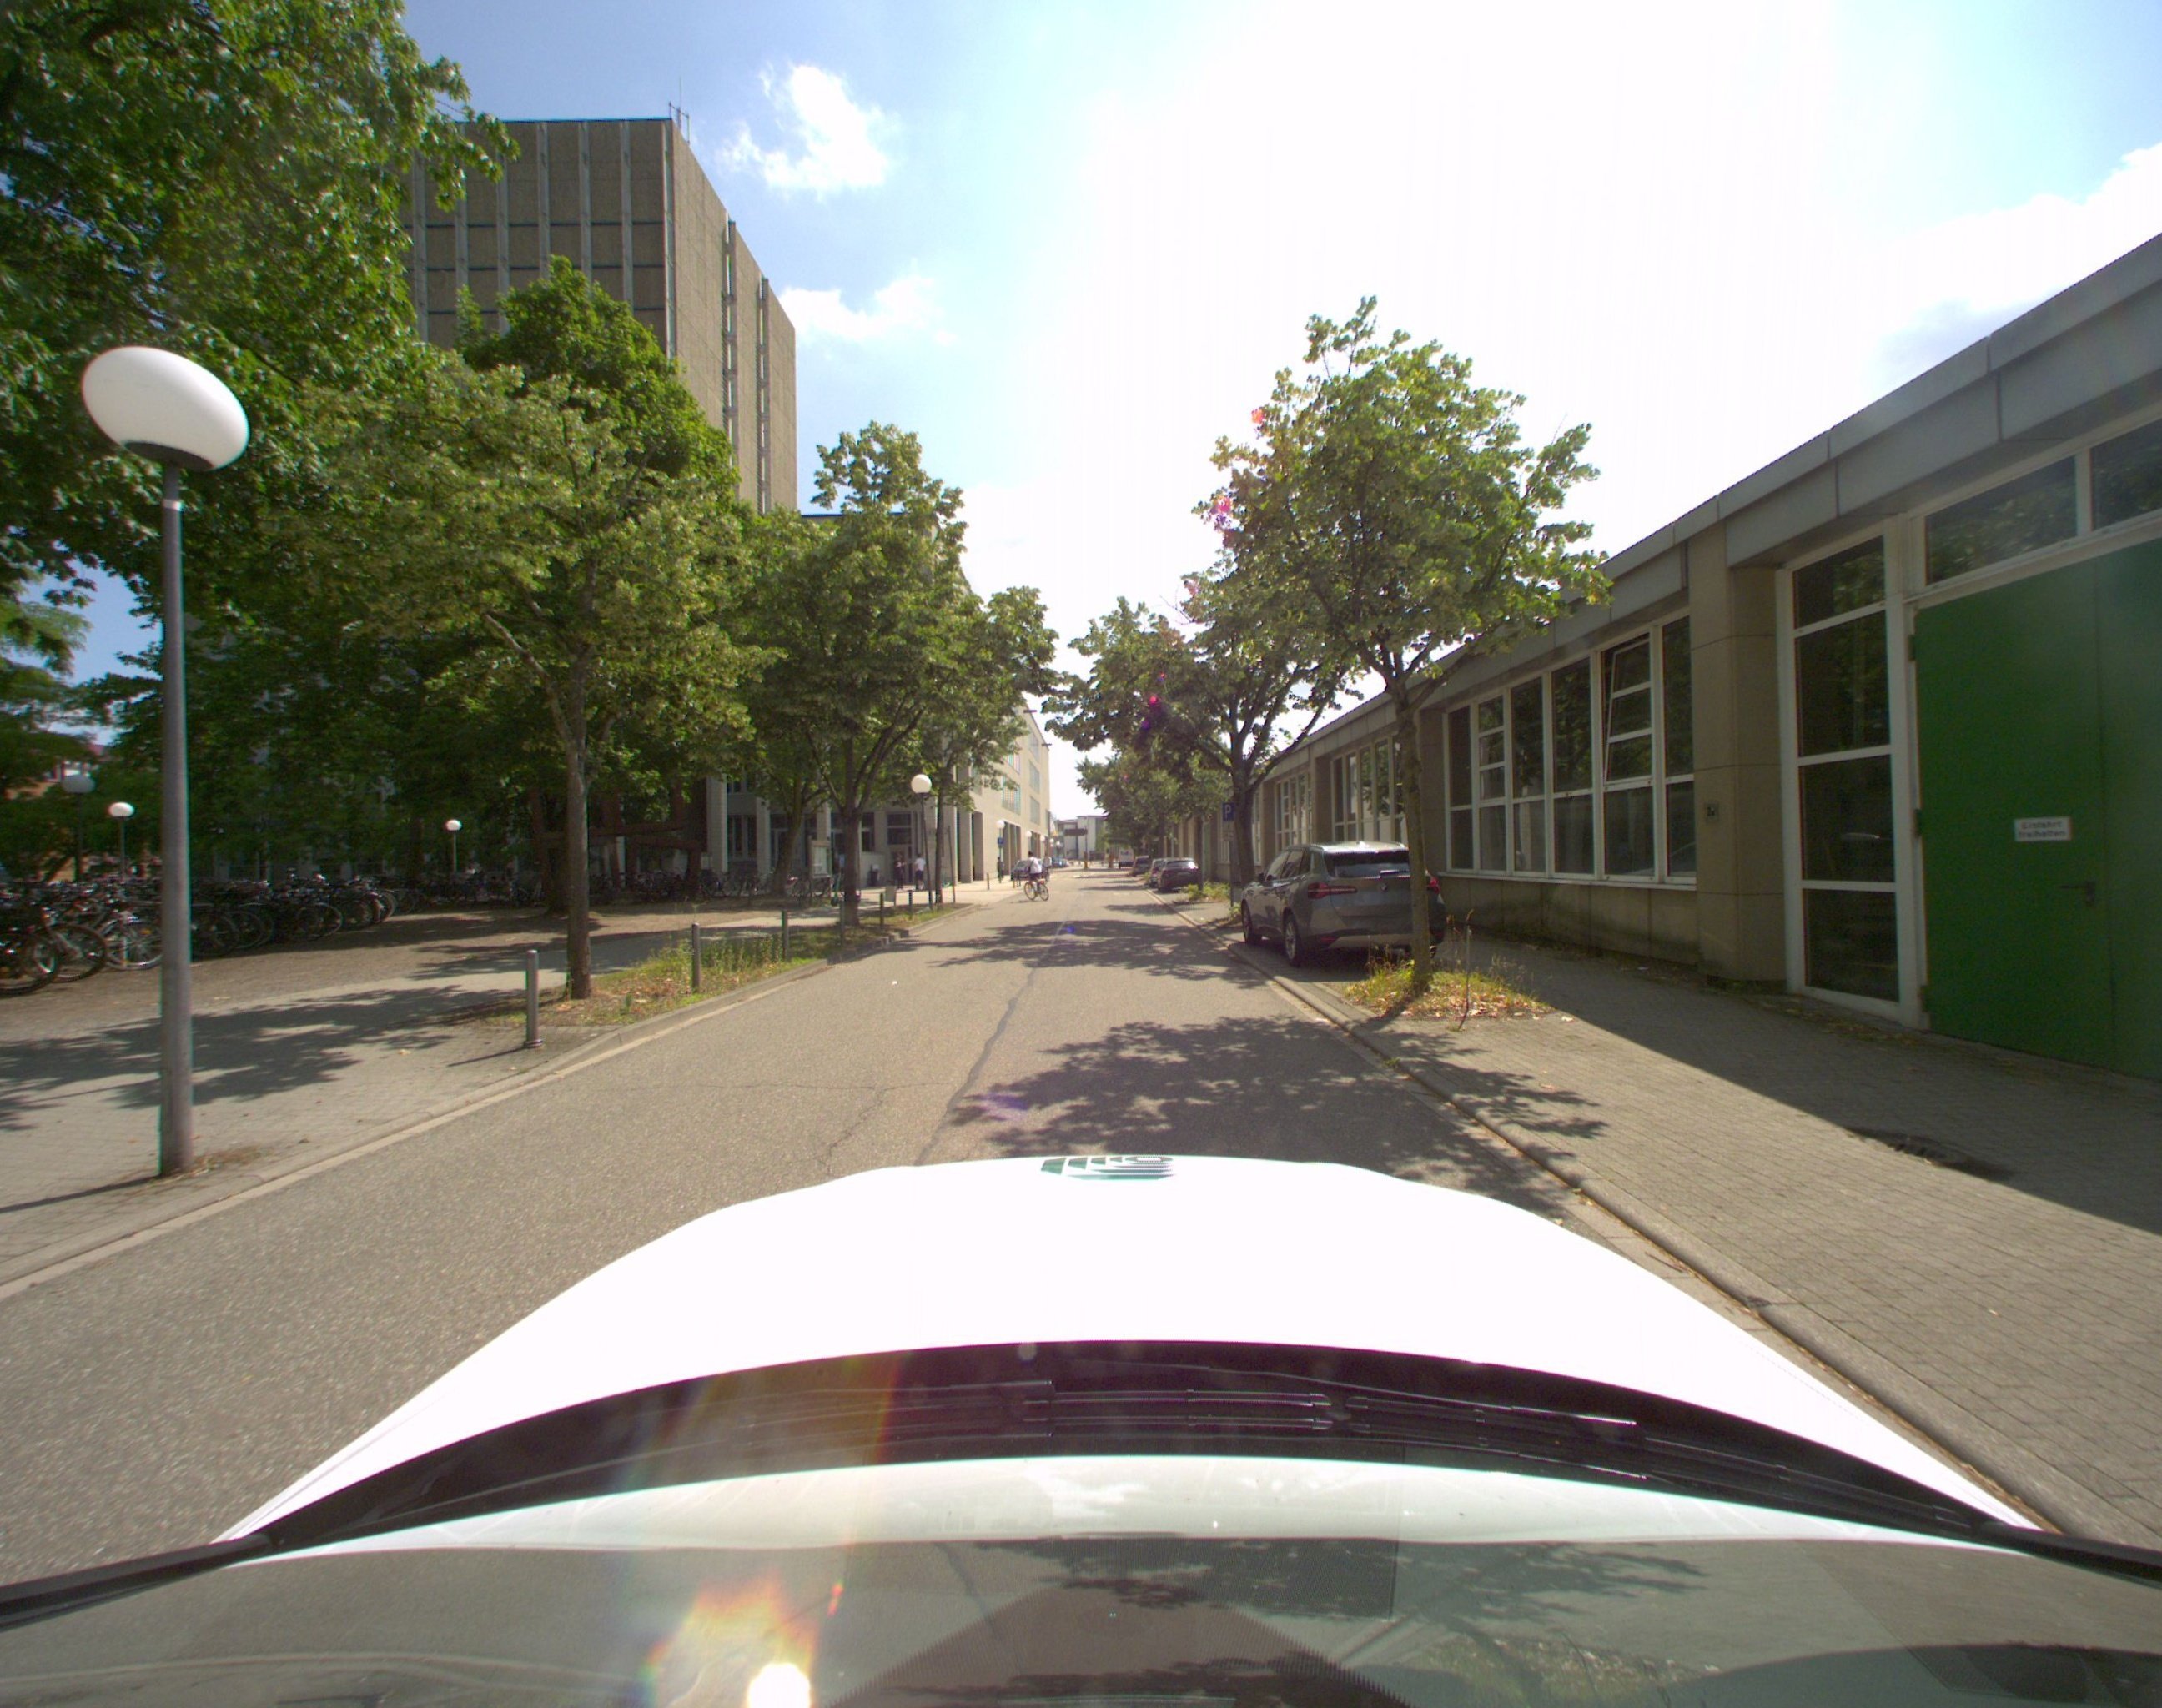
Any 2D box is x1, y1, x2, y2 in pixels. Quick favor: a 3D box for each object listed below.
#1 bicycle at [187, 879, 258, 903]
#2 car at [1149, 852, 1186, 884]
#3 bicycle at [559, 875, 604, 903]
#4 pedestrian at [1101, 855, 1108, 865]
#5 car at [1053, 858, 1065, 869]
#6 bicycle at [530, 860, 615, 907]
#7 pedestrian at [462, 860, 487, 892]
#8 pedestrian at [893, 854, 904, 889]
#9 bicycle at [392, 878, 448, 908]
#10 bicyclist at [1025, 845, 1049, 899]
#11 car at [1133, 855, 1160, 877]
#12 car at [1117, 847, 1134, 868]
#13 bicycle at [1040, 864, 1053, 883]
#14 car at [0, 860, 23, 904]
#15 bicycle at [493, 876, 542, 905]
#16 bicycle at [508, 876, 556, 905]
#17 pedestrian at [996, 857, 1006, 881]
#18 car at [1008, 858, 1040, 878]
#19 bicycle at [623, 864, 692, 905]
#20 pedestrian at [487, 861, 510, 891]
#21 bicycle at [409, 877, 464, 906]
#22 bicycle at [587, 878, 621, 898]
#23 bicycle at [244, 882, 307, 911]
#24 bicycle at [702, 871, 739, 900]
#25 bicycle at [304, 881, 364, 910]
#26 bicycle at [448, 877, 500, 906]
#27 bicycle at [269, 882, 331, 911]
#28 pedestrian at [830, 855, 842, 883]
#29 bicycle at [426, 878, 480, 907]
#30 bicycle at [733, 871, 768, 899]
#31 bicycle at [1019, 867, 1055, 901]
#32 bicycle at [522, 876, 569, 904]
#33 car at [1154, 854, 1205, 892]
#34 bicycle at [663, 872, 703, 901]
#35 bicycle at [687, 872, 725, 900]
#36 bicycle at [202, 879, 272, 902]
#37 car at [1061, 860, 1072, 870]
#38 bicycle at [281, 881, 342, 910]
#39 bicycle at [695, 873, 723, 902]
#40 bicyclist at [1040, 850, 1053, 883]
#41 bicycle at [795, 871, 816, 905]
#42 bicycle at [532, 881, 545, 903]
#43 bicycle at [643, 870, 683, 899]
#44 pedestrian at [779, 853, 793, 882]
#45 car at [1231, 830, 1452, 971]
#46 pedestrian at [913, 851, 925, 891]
[{"bbox_3d":[-34.973,1.492,33.205,0.417,0.875,2.285,0,0,2],"label":"bicycle"},{"bbox_3d":[4.374,0.691,41.653,1.610,1.539,3.781,-1,0,2],"label":"car"},{"bbox_3d":[-20.327,1.409,33.159,0.550,1.086,1.973,1,0,2],"label":"bicycle"},{"bbox_3d":[4.936,1.335,171.220,1.413,2.107,0.994,0,-1,-2],"label":"pedestrian"},{"bbox_3d":[-3.358,1.457,124.727,1.640,1.498,3.729,-1,-2,1],"label":"car"},{"bbox_3d":[-16.333,0.925,26.212,2.298,1.450,0.601,0,-1,-32],"label":"bicycle"},{"bbox_3d":[-30.545,1.092,41.021,0.824,1.593,0.598,-1,-1,3],"label":"pedestrian"},{"bbox_3d":[-9.239,0.896,41.236,0.443,1.775,0.447,0,-1,-29],"label":"pedestrian"},{"bbox_3d":[-26.558,1.549,32.764,0.550,1.086,1.973,1,0,2],"label":"bicycle"},{"bbox_3d":[-1.689,0.673,31.047,0.872,2.014,0.848,-1,-1,-5],"label":"bicyclist"},{"bbox_3d":[5.067,0.936,63.728,1.851,1.574,4.002,-2,-1,2],"label":"car"},{"bbox_3d":[5.718,0.447,104.796,2.076,2.539,4.316,0,0,1],"label":"car"},{"bbox_3d":[-2.175,1.226,51.564,0.683,1.130,1.888,-1,0,0],"label":"bicycle"},{"bbox_3d":[-69.493,1.828,50.401,1.989,2.776,4.623,-1,1,-4],"label":"car"},{"bbox_3d":[-23.111,1.490,33.454,0.550,1.086,1.973,1,0,2],"label":"bicycle"},{"bbox_3d":[-22.463,1.469,33.341,0.550,1.086,1.973,1,0,2],"label":"bicycle"},{"bbox_3d":[-5.718,1.082,58.333,0.649,1.701,0.886,0,-1,-9],"label":"pedestrian"},{"bbox_3d":[-4.124,1.001,59.194,1.759,1.427,4.238,-1,-1,3],"label":"car"},{"bbox_3d":[-14.267,1.015,27.468,2.027,1.254,0.581,-2,0,-31],"label":"bicycle"},{"bbox_3d":[-29.719,1.116,41.573,0.702,1.540,0.717,0,-1,-9],"label":"pedestrian"},{"bbox_3d":[-25.856,1.495,32.714,0.550,1.086,1.973,1,0,2],"label":"bicycle"},{"bbox_3d":[-24.230,1.731,41.432,0.523,0.946,1.994,-1,0,1],"label":"bicycle"},{"bbox_3d":[-32.767,1.719,33.171,0.550,1.086,1.973,1,0,2],"label":"bicycle"},{"bbox_3d":[-14.609,1.263,33.065,0.550,1.086,1.973,1,0,2],"label":"bicycle"},{"bbox_3d":[-30.608,1.675,33.411,0.550,1.086,1.973,1,0,2],"label":"bicycle"},{"bbox_3d":[-24.378,1.495,32.759,0.550,1.086,1.973,1,0,2],"label":"bicycle"},{"bbox_3d":[-32.021,1.711,33.430,0.550,1.086,1.973,1,0,2],"label":"bicycle"},{"bbox_3d":[-12.236,0.753,40.652,0.465,1.383,0.443,-2,3,-8],"label":"pedestrian"},{"bbox_3d":[-25.224,1.515,32.752,0.550,1.086,1.973,1,0,2],"label":"bicycle"},{"bbox_3d":[-13.437,1.237,33.142,0.550,1.086,1.973,1,0,2],"label":"bicycle"},{"bbox_3d":[-1.715,1.132,31.255,0.883,1.200,2.737,-1,0,-13],"label":"bicycle"},{"bbox_3d":[-21.807,1.447,33.192,0.550,1.086,1.973,1,0,2],"label":"bicycle"},{"bbox_3d":[4.282,0.807,36.008,1.774,1.476,4.463,-3,0,1],"label":"car"},{"bbox_3d":[-16.103,1.297,32.990,0.550,1.086,1.973,1,0,2],"label":"bicycle"},{"bbox_3d":[-15.256,1.284,33.201,0.550,1.086,1.973,1,0,2],"label":"bicycle"},{"bbox_3d":[-34.379,1.476,33.220,0.417,0.875,2.285,0,0,2],"label":"bicycle"},{"bbox_3d":[-2.359,1.873,136.556,1.640,1.498,3.729,-1,-2,1],"label":"car"},{"bbox_3d":[-31.253,1.679,33.102,0.550,1.086,1.973,1,0,2],"label":"bicycle"},{"bbox_3d":[-13.027,1.158,28.533,0.475,0.965,1.651,-1,-1,-9],"label":"bicycle"},{"bbox_3d":[-2.197,0.801,51.606,0.709,2.013,1.018,-2,-1,-1],"label":"bicyclist"},{"bbox_3d":[-9.015,1.093,26.649,0.382,1.025,1.808,-1,-1,-11],"label":"bicycle"},{"bbox_3d":[-20.150,1.403,30.251,0.324,0.763,1.545,0,-1,-32],"label":"bicycle"},{"bbox_3d":[-15.669,1.134,30.544,0.473,1.032,1.851,-1,-1,2],"label":"bicycle"},{"bbox_3d":[-16.975,0.760,46.832,0.637,1.661,0.687,0,-1,-34],"label":"pedestrian"},{"bbox_3d":[3.635,0.620,12.334,1.817,1.664,4.582,-2,-1,0],"label":"car"},{"bbox_3d":[-8.074,0.832,40.511,0.415,1.942,0.657,0,-1,-28],"label":"pedestrian"}]
